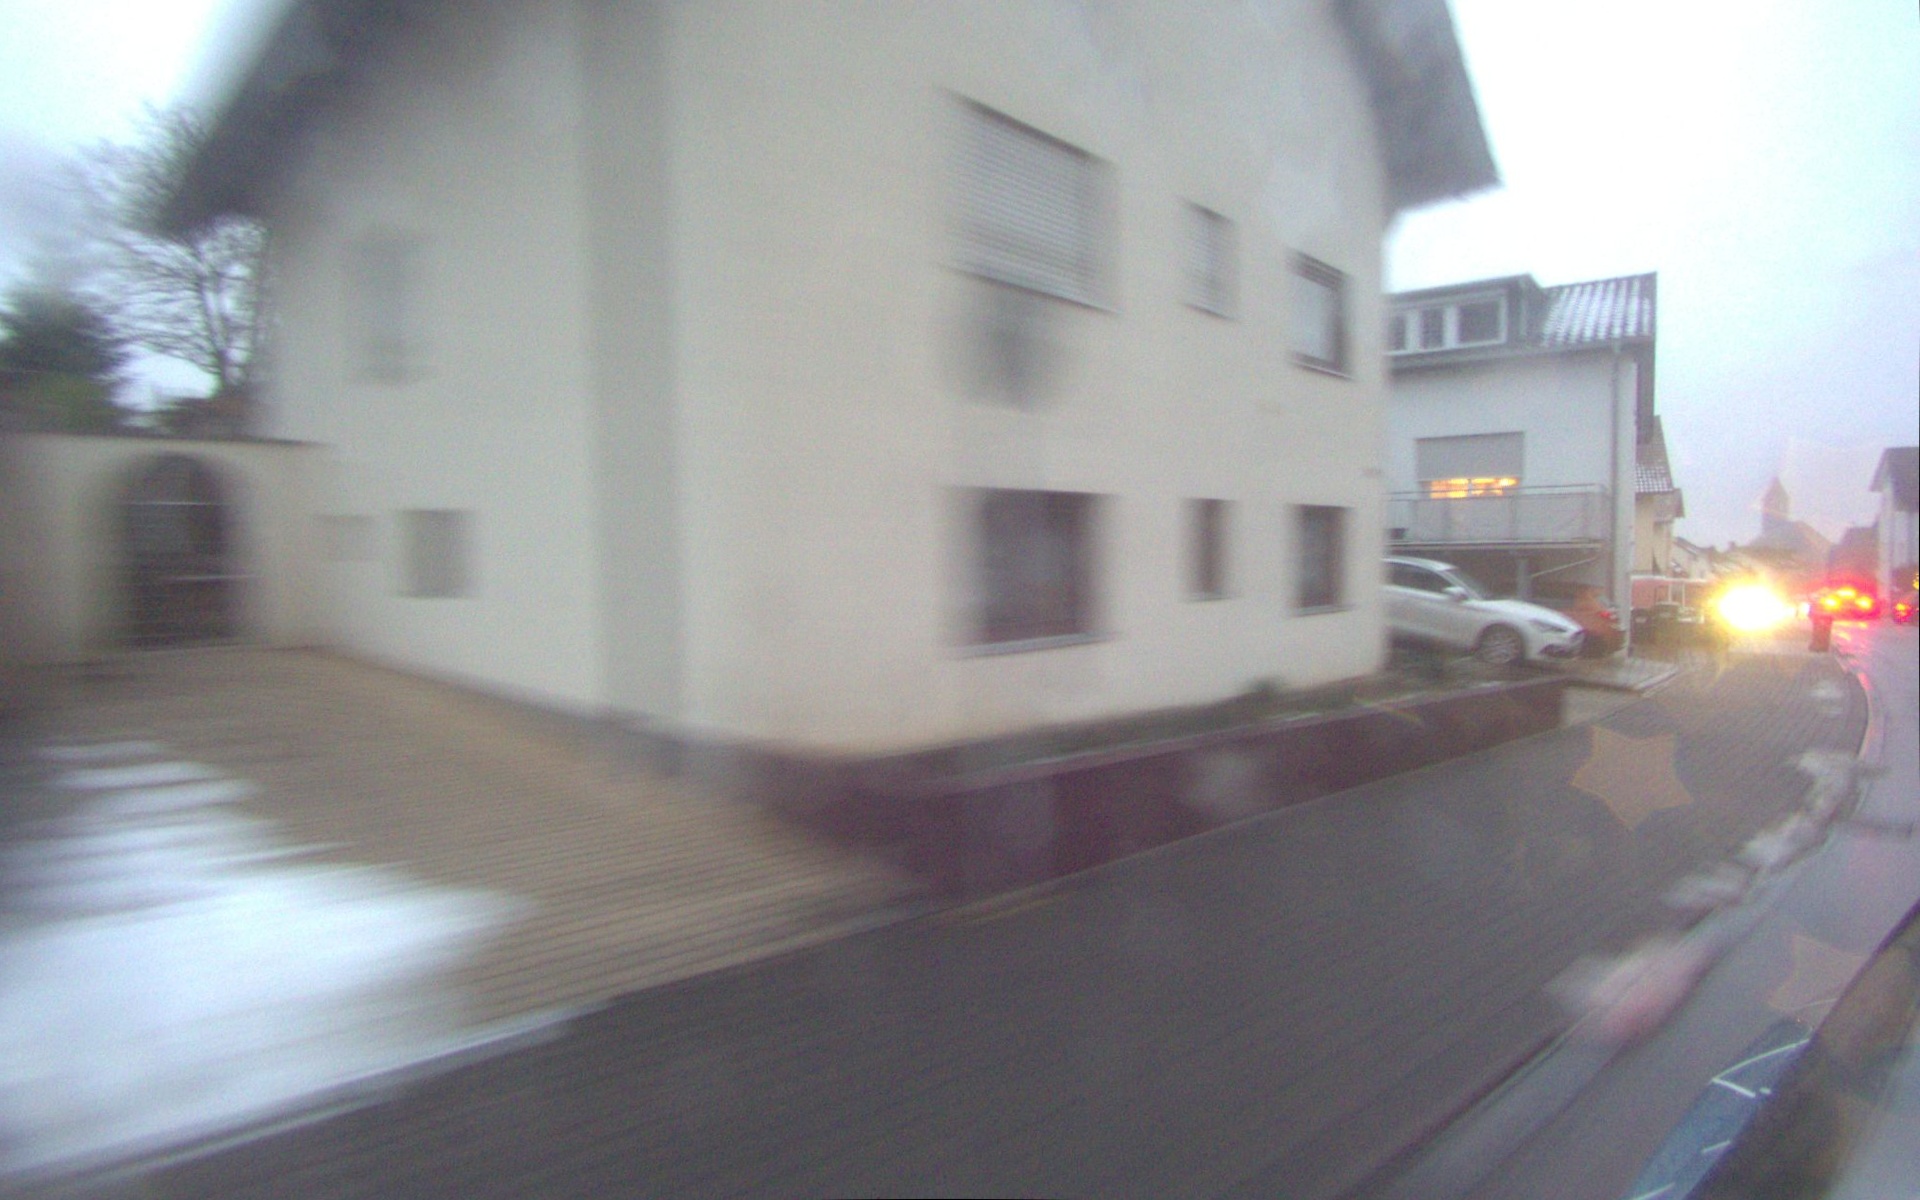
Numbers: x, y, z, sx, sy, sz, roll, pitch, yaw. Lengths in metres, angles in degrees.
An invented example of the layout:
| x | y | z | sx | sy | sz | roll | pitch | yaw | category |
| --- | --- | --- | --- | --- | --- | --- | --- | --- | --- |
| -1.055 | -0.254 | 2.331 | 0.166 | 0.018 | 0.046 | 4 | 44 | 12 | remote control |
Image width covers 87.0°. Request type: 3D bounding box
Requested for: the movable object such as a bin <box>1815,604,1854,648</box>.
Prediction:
| x | y | z | sx | sy | sz | roll | pitch | yaw | category |
| --- | --- | --- | --- | --- | --- | --- | --- | --- | --- |
| 20.795 | 0.614 | 24.066 | 0.614 | 0.957 | 0.586 | 6 | 6 | 41 | movable object such as a bin |

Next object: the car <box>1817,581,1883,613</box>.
| x | y | z | sx | sy | sz | roll | pitch | yaw | category |
| --- | --- | --- | --- | --- | --- | --- | --- | --- | --- |
| 46.326 | -0.154 | 52.780 | 1.765 | 1.514 | 4.331 | 3 | 2 | 31 | car |

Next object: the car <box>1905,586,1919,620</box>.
| x | y | z | sx | sy | sz | roll | pitch | yaw | category |
| --- | --- | --- | --- | --- | --- | --- | --- | --- | --- |
| 41.878 | 0.134 | 43.161 | 1.658 | 1.435 | 3.647 | 0 | 0 | 33 | car |

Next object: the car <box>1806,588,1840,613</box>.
| x | y | z | sx | sy | sz | roll | pitch | yaw | category |
| --- | --- | --- | --- | --- | --- | --- | --- | --- | --- |
| 66.745 | 0.073 | 78.306 | 1.768 | 1.815 | 4.071 | 3 | 1 | 38 | car |

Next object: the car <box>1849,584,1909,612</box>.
| x | y | z | sx | sy | sz | roll | pitch | yaw | category |
| --- | --- | --- | --- | --- | --- | --- | --- | --- | --- |
| 51.447 | -0.131 | 56.730 | 1.727 | 1.462 | 4.387 | 2 | 1 | 33 | car |

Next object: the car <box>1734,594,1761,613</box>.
| x | y | z | sx | sy | sz | roll | pitch | yaw | category |
| --- | --- | --- | --- | --- | --- | --- | --- | --- | --- |
| 68.187 | 0.283 | 87.678 | 1.749 | 1.514 | 4.191 | 3 | 2 | 38 | car |

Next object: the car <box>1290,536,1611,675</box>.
| x | y | z | sx | sy | sz | roll | pitch | yaw | category |
| --- | --- | --- | --- | --- | --- | --- | --- | --- | --- |
| 7.858 | -0.029 | 16.473 | 4.282 | 1.473 | 1.753 | 12 | 9 | 40 | car |

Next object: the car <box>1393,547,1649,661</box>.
| x | y | z | sx | sy | sz | roll | pitch | yaw | category |
| --- | --- | --- | --- | --- | --- | --- | --- | --- | --- |
| 10.655 | -0.005 | 19.337 | 3.981 | 1.473 | 1.668 | 11 | 7 | 36 | car |
